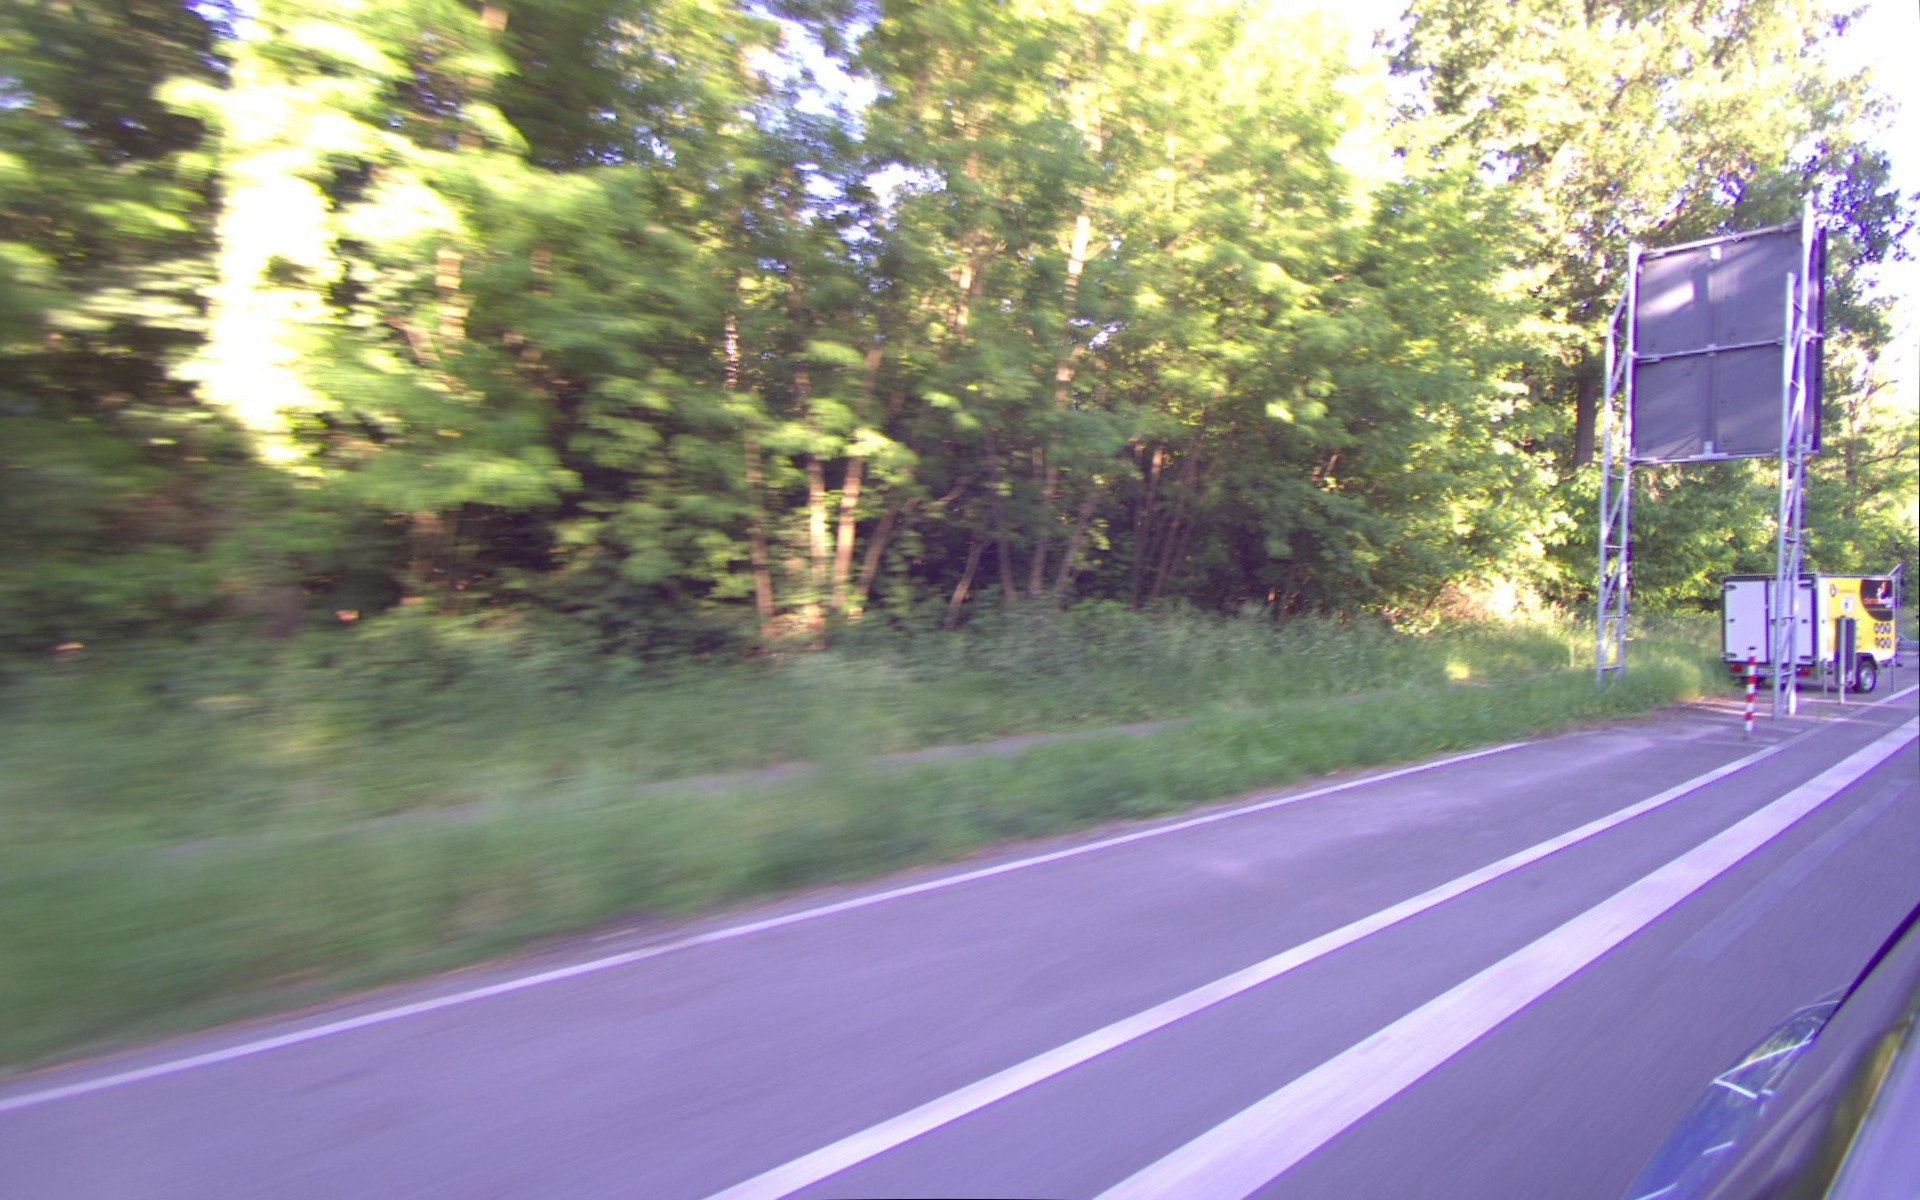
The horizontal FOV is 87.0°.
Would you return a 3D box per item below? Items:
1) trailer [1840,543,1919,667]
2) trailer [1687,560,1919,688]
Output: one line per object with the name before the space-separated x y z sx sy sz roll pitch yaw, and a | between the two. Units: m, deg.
trailer | 20.853 0.080 22.369 3.930 2.540 1.616 -1 1 -41
trailer | 15.025 0.369 17.802 3.764 2.048 1.972 0 1 -24
